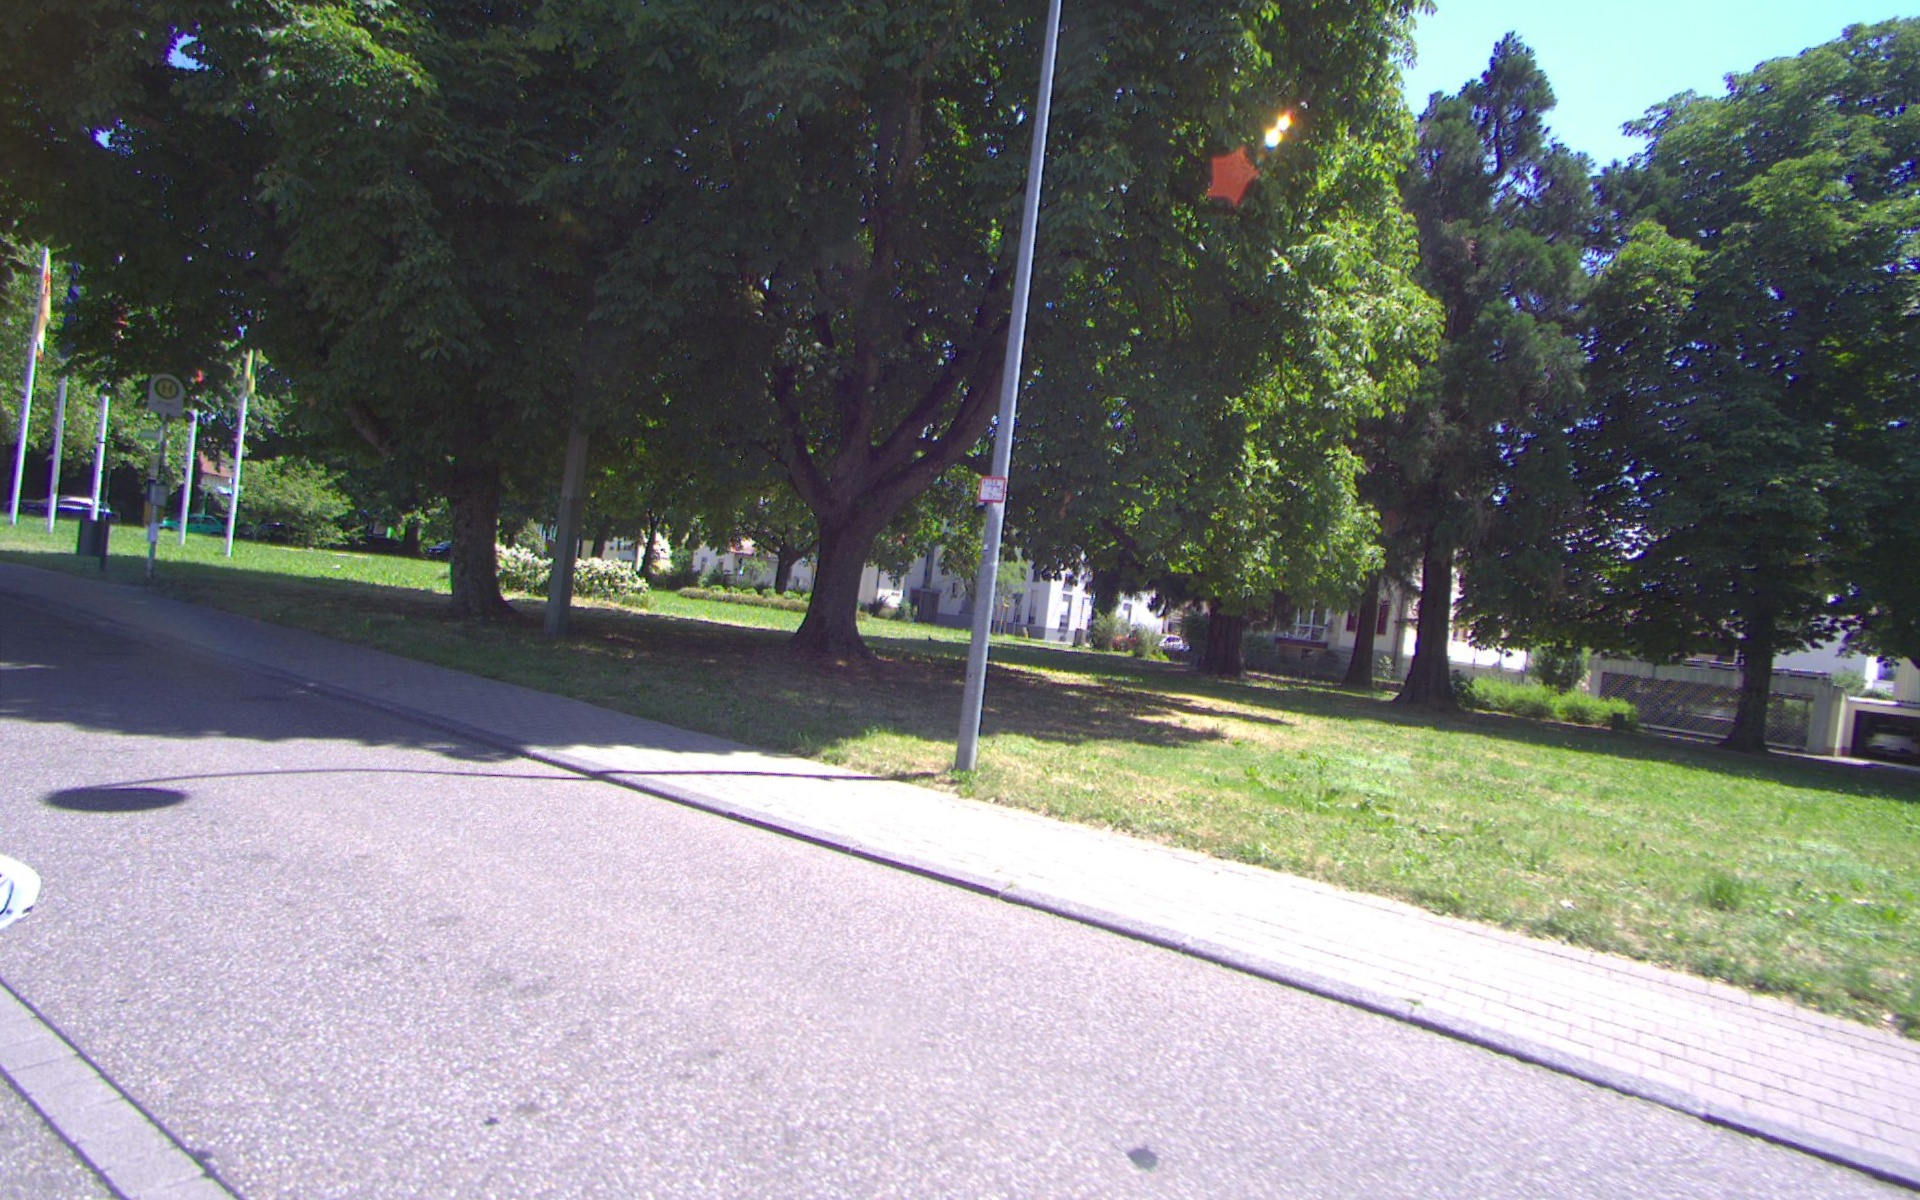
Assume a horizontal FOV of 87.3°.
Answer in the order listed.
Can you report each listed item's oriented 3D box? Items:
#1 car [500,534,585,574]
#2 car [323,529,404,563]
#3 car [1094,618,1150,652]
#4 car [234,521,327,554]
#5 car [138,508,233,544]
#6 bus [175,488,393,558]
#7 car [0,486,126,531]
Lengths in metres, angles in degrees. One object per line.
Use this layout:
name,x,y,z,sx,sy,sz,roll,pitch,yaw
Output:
car,-29.697,-3.210,71.615,5.224,2.114,1.983,7,-2,-34
car,-39.659,-3.555,66.918,1.968,1.627,4.101,5,-2,33
car,11.212,2.429,69.426,3.737,1.981,1.808,6,-1,-45
car,-42.285,-3.869,62.681,1.967,1.433,4.343,5,-2,32
car,-44.912,-4.280,58.410,1.968,1.471,3.885,5,-2,33
bus,-45.634,-5.066,68.655,2.231,3.014,12.393,6,-1,32
car,-48.075,-4.852,53.915,1.969,1.627,4.824,7,0,35
